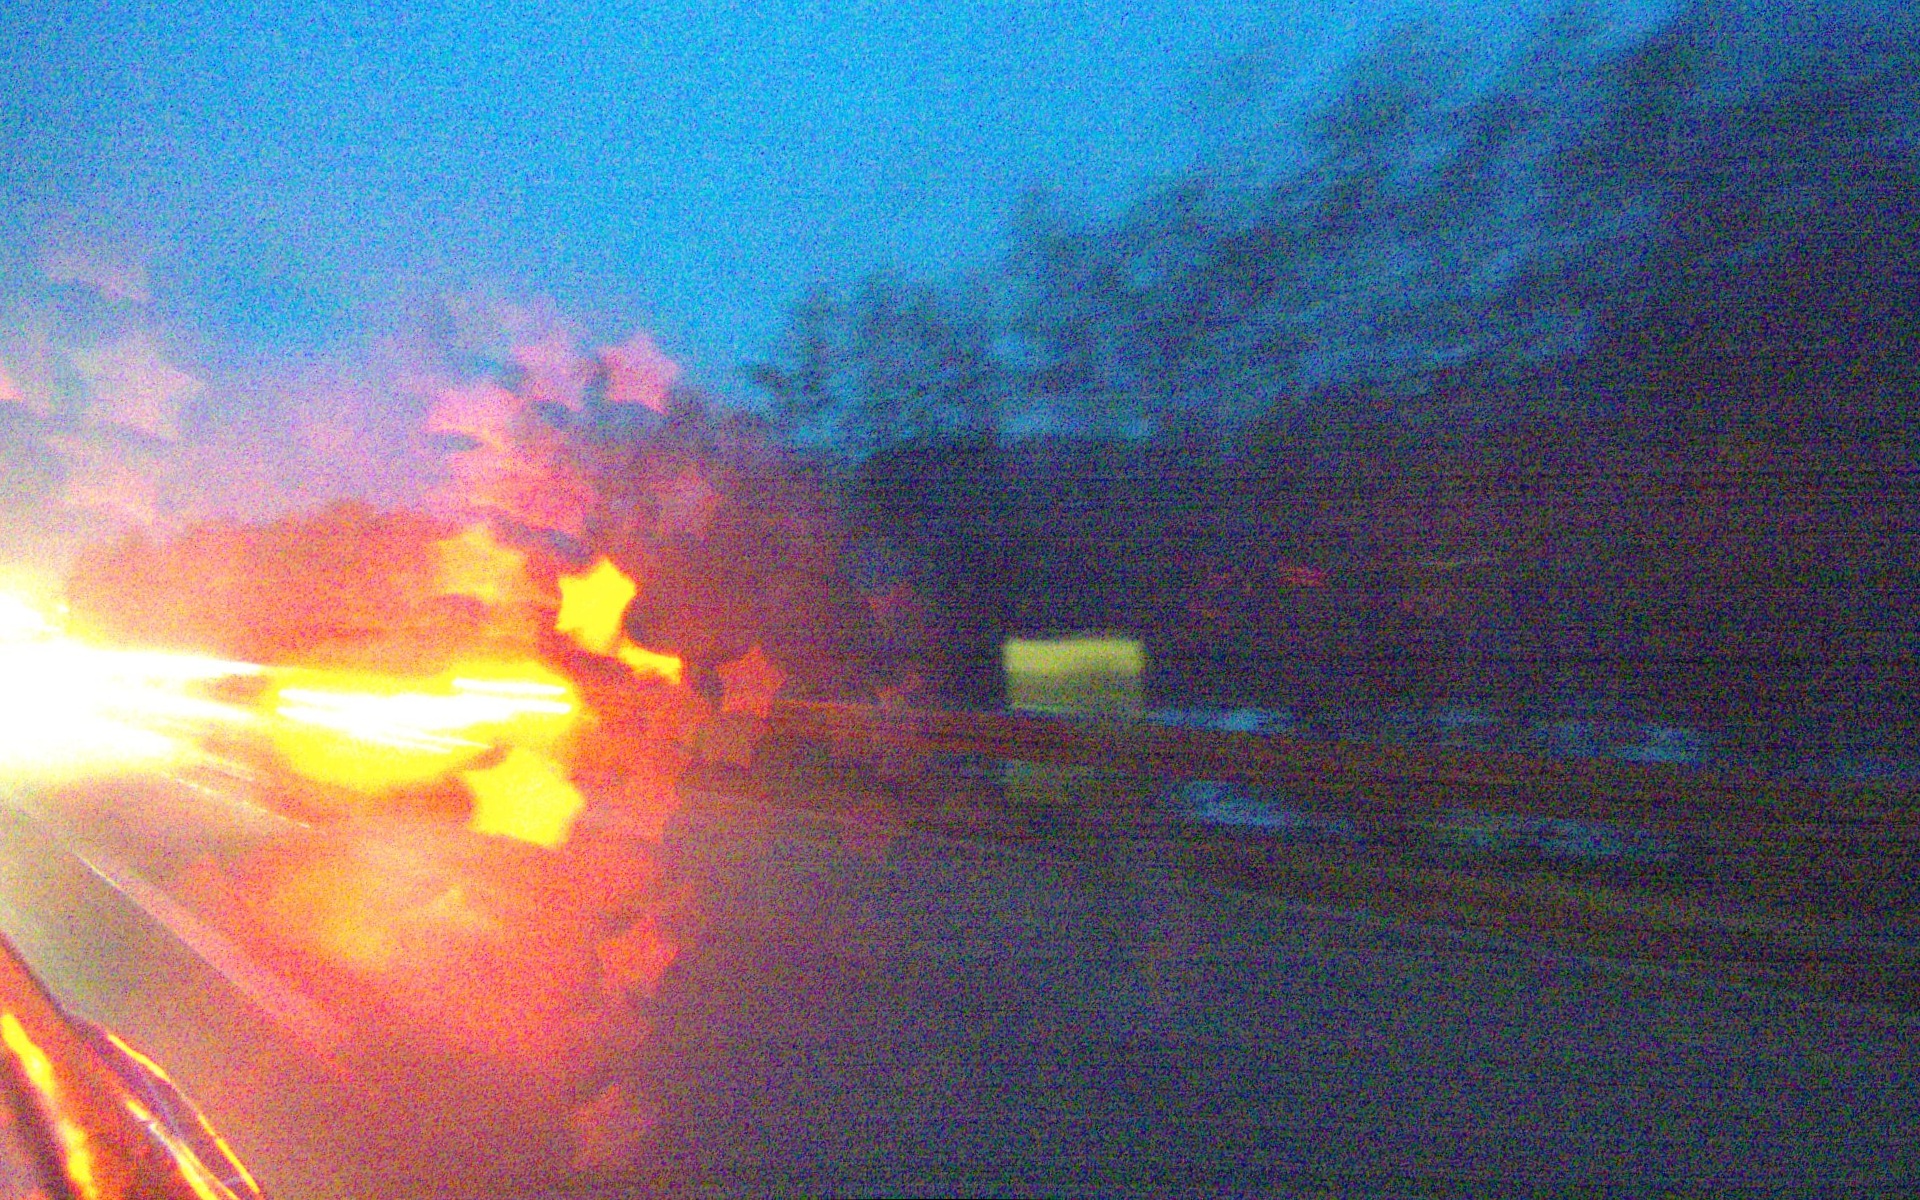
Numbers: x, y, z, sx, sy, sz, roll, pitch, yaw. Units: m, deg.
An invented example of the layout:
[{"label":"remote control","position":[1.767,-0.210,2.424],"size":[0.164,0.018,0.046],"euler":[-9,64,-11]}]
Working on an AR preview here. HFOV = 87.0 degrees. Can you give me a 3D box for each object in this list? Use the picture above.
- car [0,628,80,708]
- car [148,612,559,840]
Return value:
[{"label":"car","position":[-18.618,1.296,19.751],"size":[3.656,1.436,1.628],"euler":[-2,-2,40]},{"label":"car","position":[-5.171,0.850,8.397],"size":[4.119,1.436,1.628],"euler":[-1,-1,39]}]
